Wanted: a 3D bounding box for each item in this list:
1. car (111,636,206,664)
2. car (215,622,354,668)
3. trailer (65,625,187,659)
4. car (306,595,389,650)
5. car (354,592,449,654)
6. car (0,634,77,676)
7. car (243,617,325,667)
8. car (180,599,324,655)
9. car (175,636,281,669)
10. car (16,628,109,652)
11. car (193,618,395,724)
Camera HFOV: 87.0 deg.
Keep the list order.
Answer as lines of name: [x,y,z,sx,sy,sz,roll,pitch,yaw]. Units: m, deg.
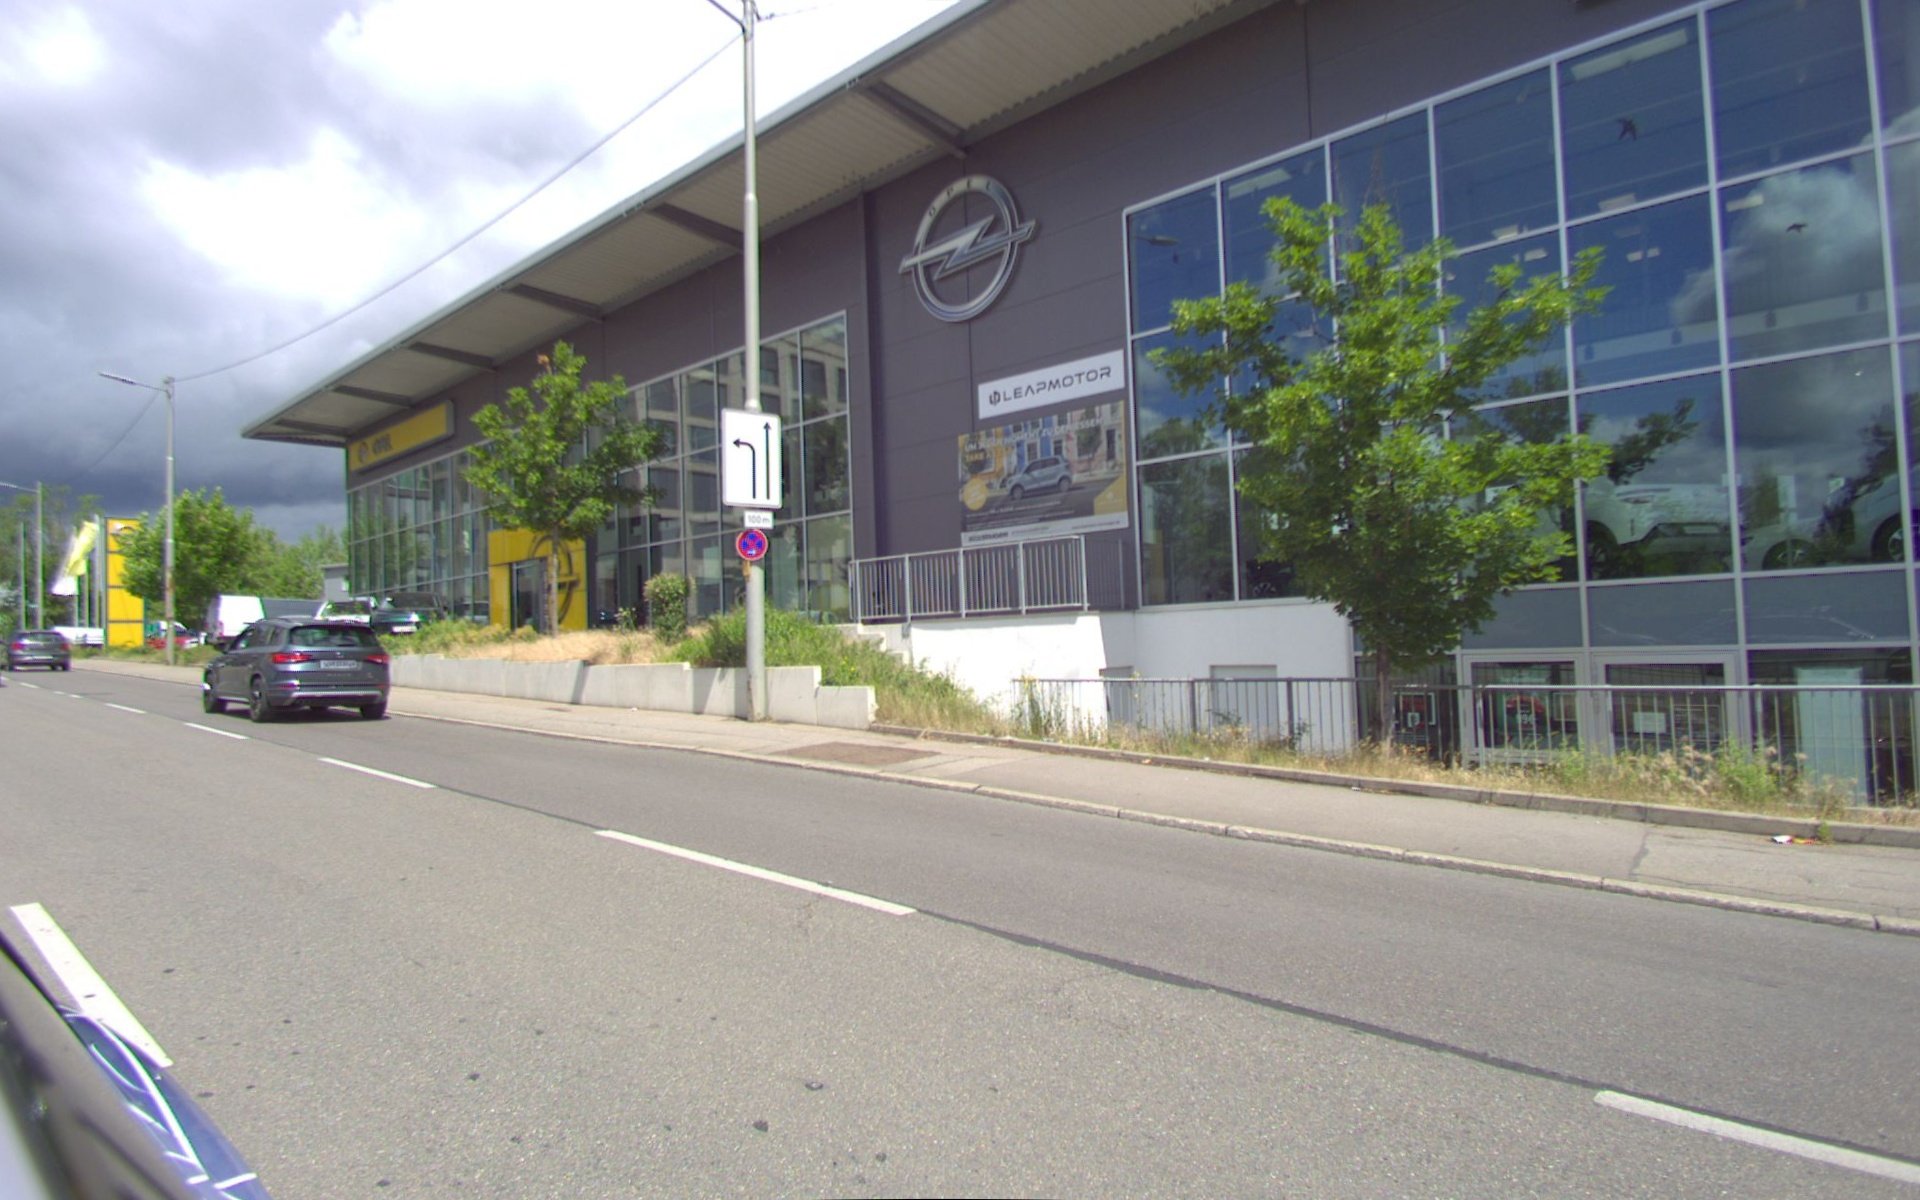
car: [-42.017,2.596,53.094,1.814,1.420,3.621,-2,-3,42]
car: [-25.729,1.691,38.670,1.792,1.625,4.064,-2,-2,32]
trailer: [-45.372,2.285,55.139,2.092,1.765,4.776,-2,-2,37]
car: [-19.261,0.713,31.981,1.767,1.625,4.122,0,-1,-25]
car: [-15.695,0.667,28.636,1.790,1.625,4.122,0,-2,-21]
car: [-32.495,1.918,35.507,3.732,1.424,1.740,-2,-4,41]
car: [-23.465,1.450,35.266,1.767,1.625,4.122,1,-2,-26]
car: [-29.257,1.097,41.950,2.177,2.211,4.475,-1,-2,39]
car: [-35.505,2.509,49.143,1.559,1.539,3.897,-2,-2,38]
car: [-57.609,2.558,64.998,2.093,1.493,4.200,-2,-2,38]
car: [-10.984,1.072,16.598,3.955,1.533,1.740,-1,-2,41]
